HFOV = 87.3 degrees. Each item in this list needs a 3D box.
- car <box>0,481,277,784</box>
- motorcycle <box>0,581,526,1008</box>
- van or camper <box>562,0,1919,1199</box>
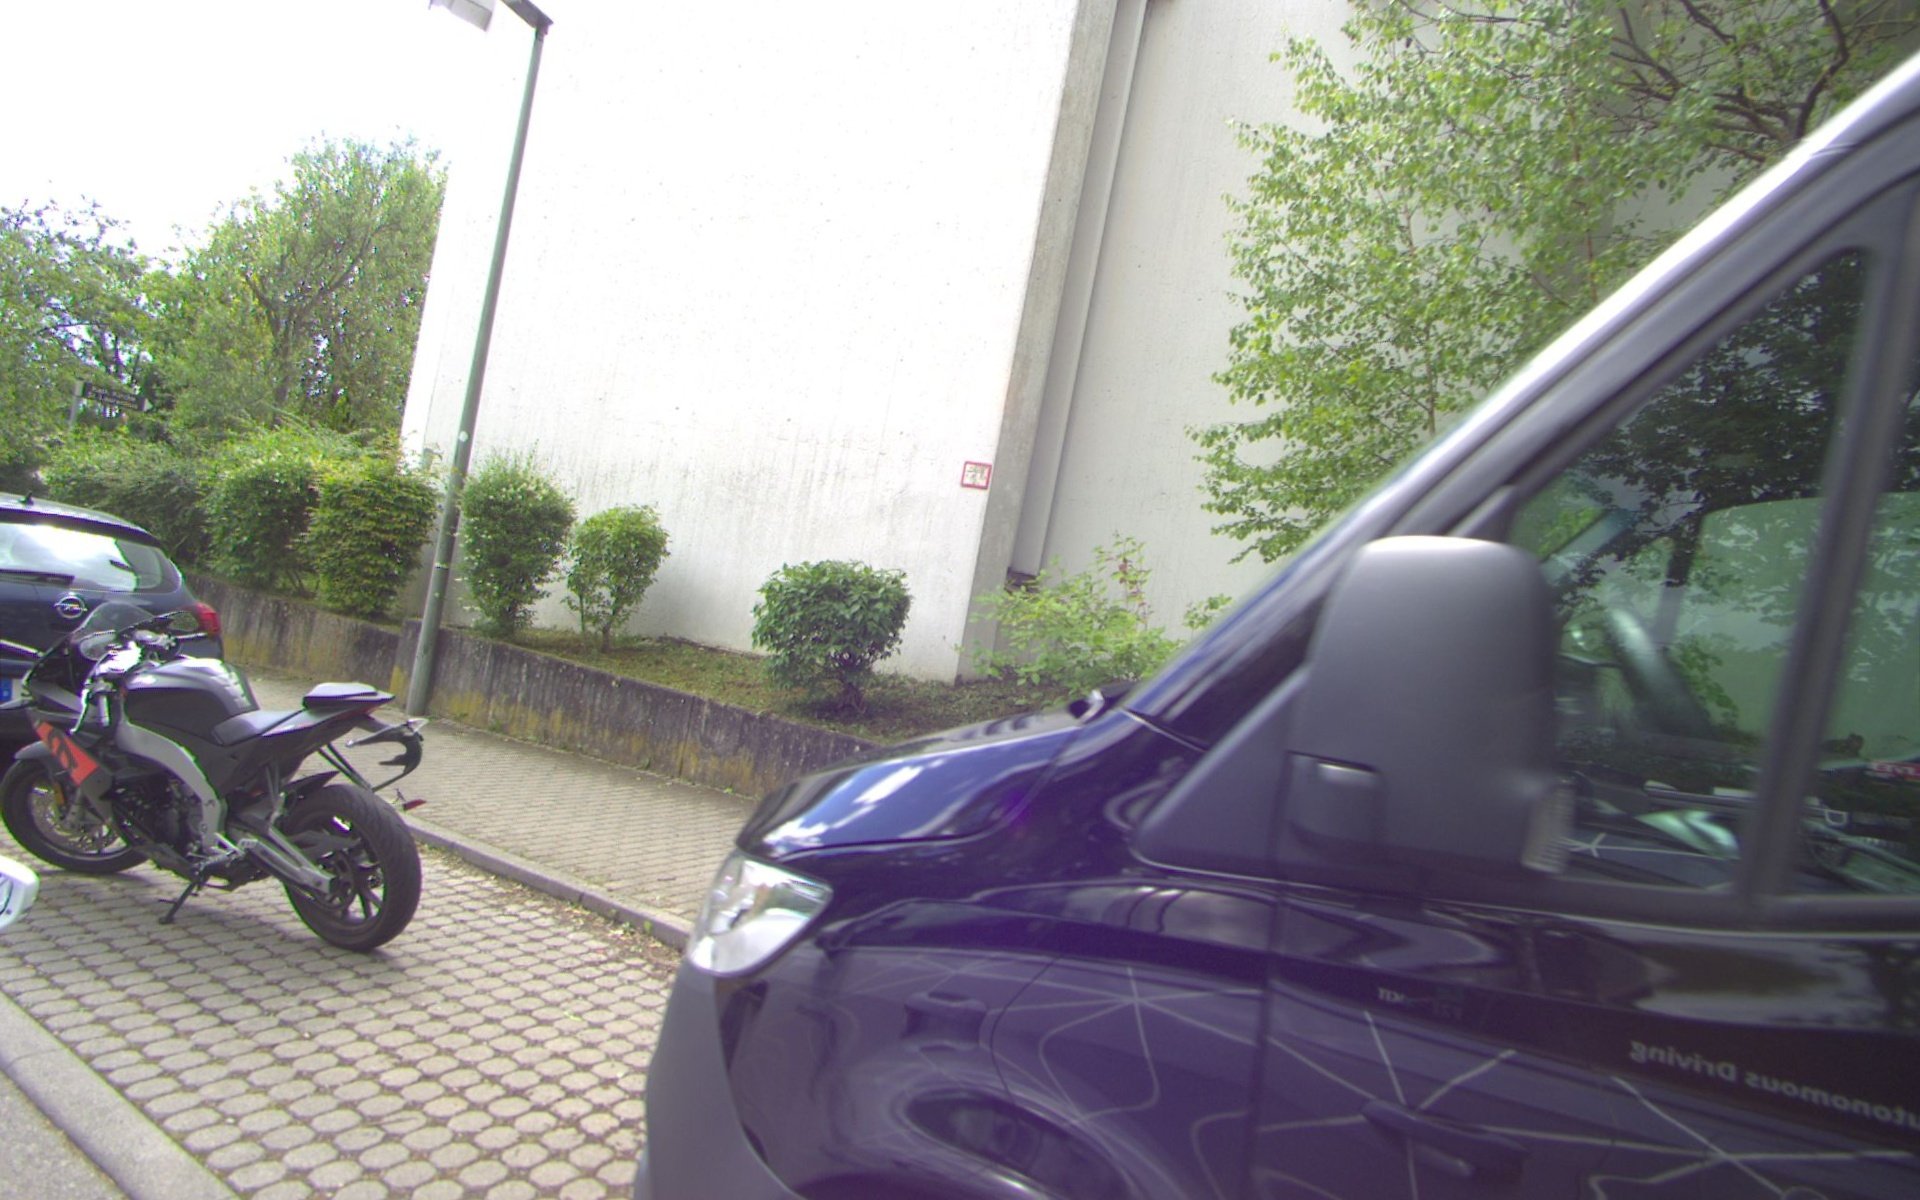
[{"bbox_3d":[-6.166,0.019,6.030,3.901,1.449,1.734,6,-3,29],"label":"car"},{"bbox_3d":[-2.818,0.587,3.715,2.046,1.124,0.903,5,-3,18],"label":"motorcycle"},{"bbox_3d":[2.297,0.427,0.891,5.380,2.554,1.996,6,0,32],"label":"van or camper"}]
